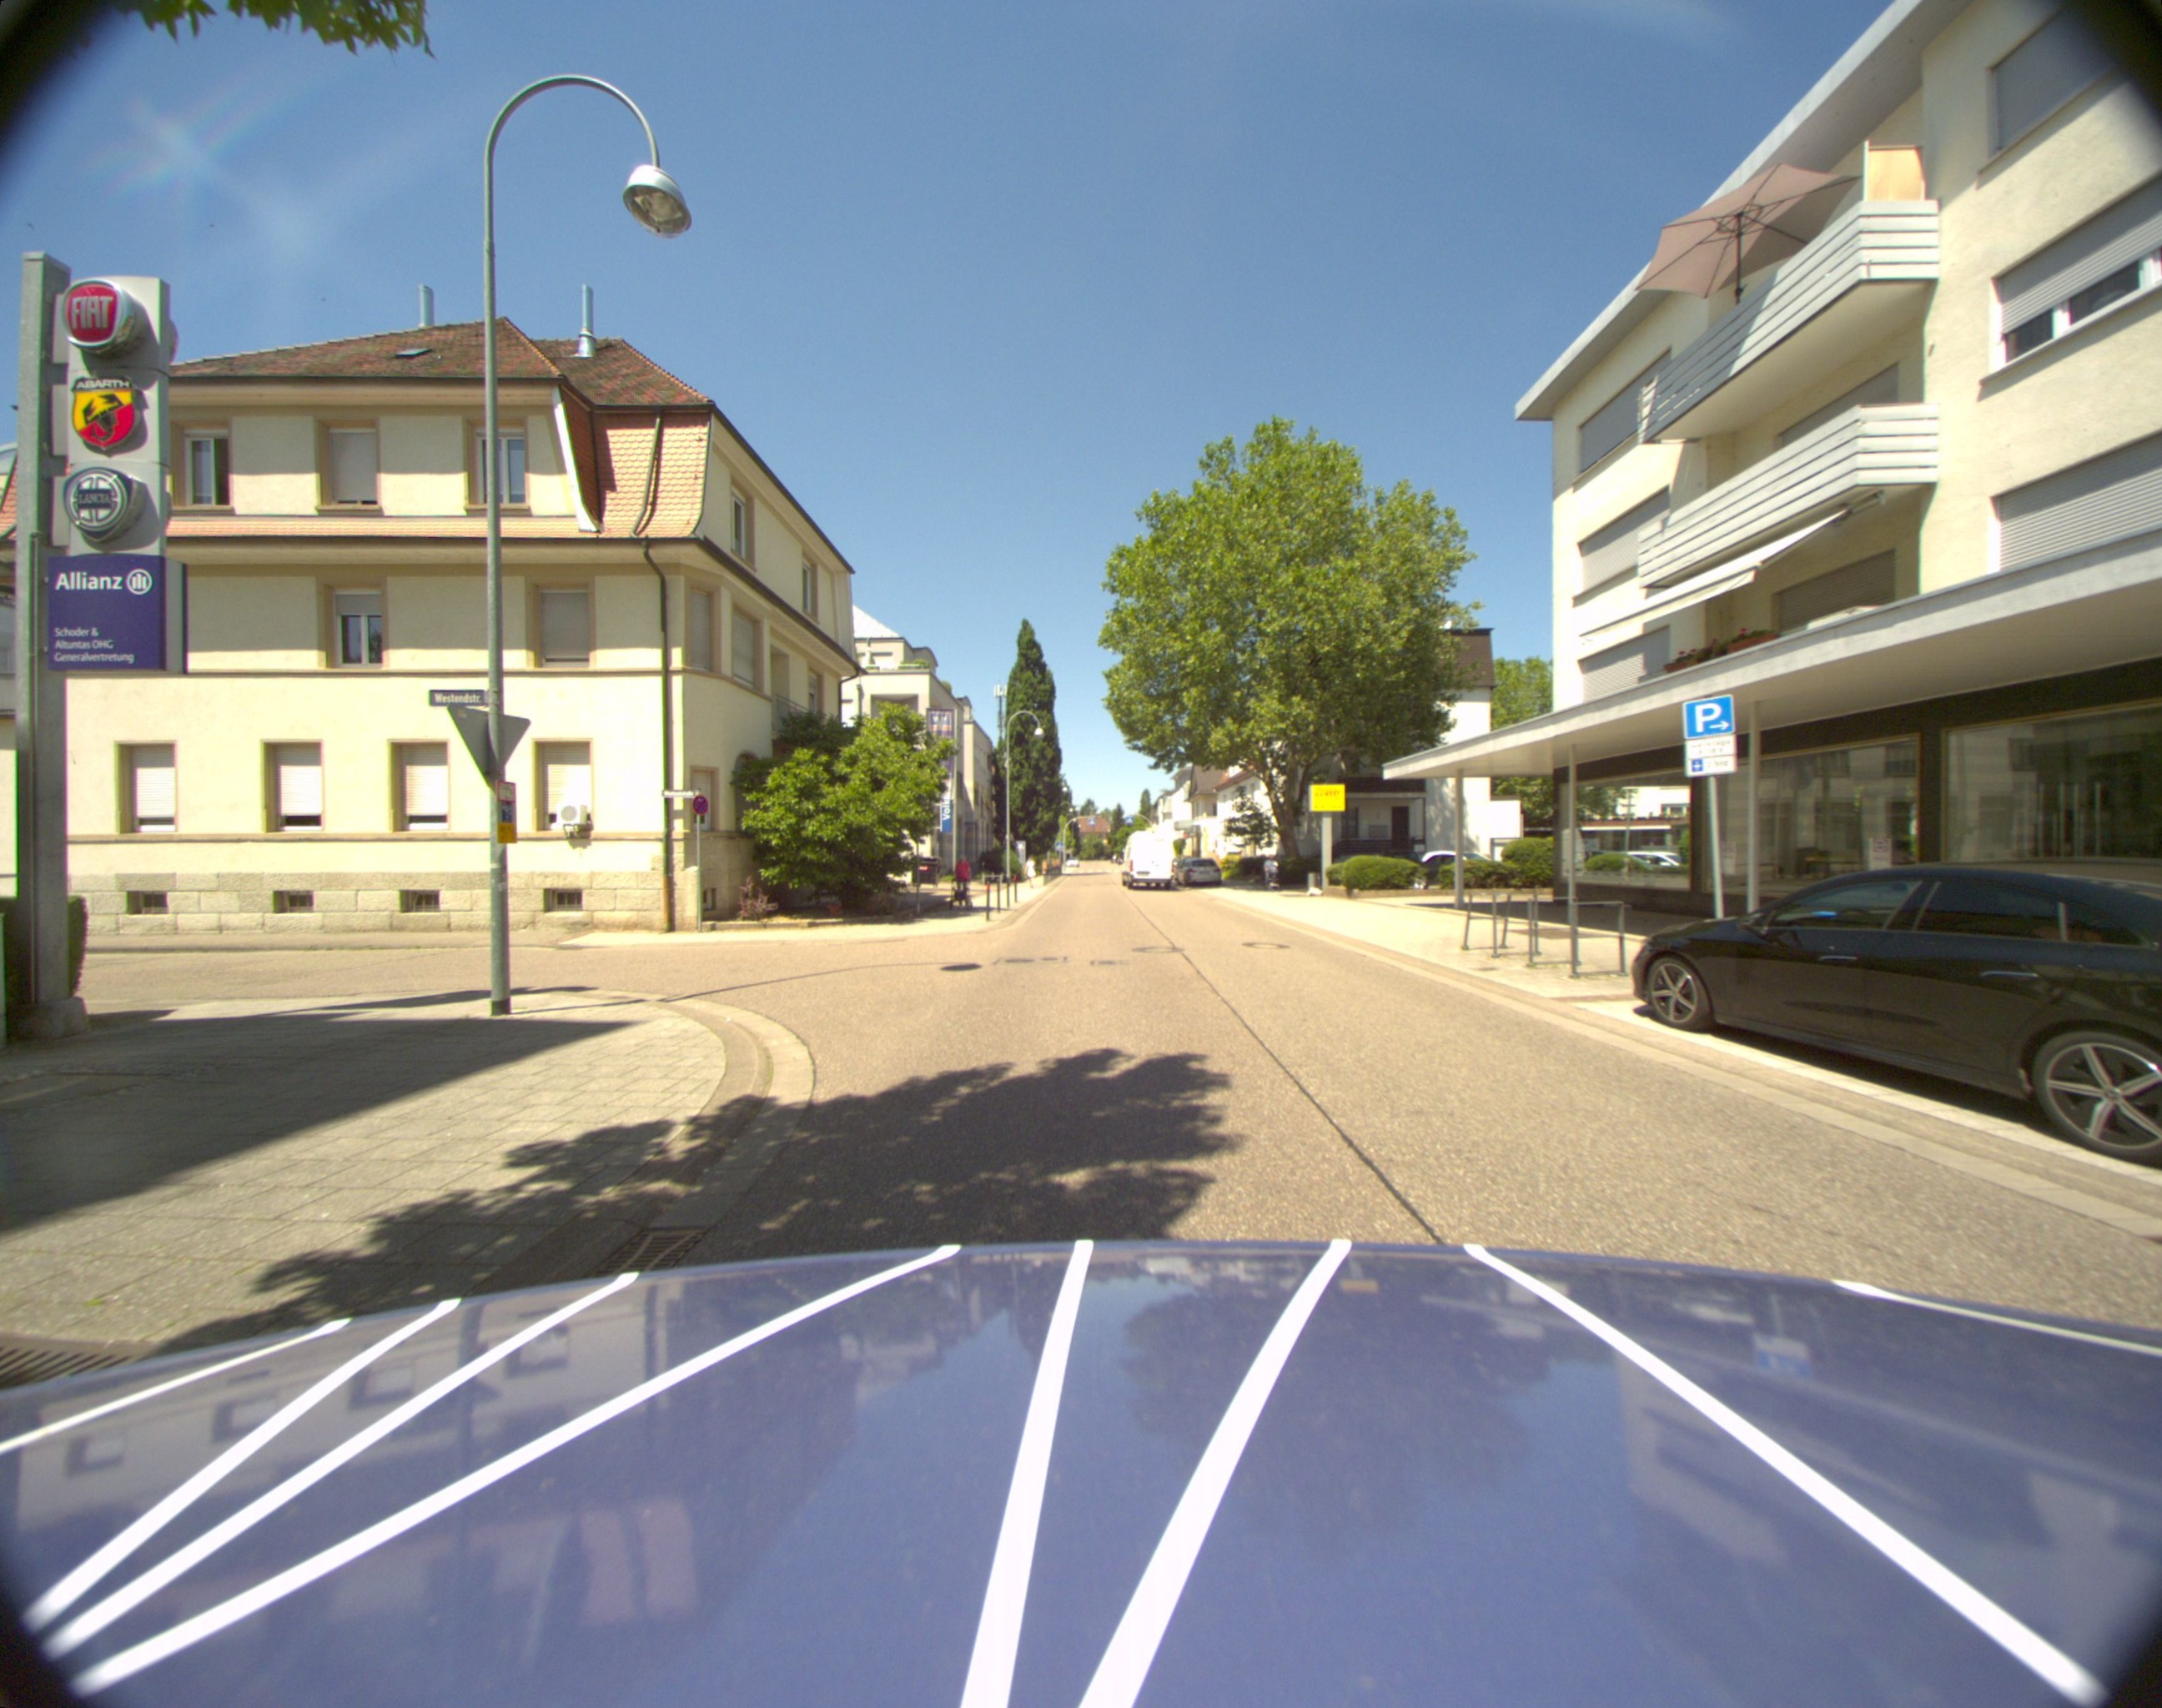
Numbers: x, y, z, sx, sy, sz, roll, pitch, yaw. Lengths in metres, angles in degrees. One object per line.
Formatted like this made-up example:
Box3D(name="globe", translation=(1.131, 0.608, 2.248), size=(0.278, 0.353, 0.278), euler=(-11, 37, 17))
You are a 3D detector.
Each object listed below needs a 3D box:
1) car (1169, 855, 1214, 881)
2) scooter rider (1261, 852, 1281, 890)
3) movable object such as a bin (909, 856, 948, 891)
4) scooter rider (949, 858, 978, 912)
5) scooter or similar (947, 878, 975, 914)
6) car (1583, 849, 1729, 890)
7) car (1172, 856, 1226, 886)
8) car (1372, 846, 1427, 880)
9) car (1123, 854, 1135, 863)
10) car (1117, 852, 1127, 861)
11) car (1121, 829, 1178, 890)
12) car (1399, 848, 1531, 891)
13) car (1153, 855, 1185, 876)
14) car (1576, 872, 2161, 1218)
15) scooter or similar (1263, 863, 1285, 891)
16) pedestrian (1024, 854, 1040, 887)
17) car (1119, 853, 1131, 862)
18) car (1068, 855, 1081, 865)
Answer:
Box3D(name="car", translation=(6.640, 0.789, 46.031), size=(1.986, 1.443, 4.868), euler=(-2, 0, 0))
Box3D(name="scooter rider", translation=(8.131, 0.729, 32.595), size=(0.590, 1.566, 0.877), euler=(-3, 0, 2))
Box3D(name="movable object such as a bin", translation=(-6.769, 0.838, 33.767), size=(1.371, 1.450, 1.381), euler=(3, 1, 3))
Box3D(name="scooter rider", translation=(-3.416, 0.886, 22.156), size=(0.718, 1.539, 0.770), euler=(1, 0, -1))
Box3D(name="scooter or similar", translation=(-3.407, 1.181, 21.582), size=(0.665, 0.957, 0.754), euler=(1, 0, 0))
Box3D(name="car", translation=(21.583, 0.573, 28.719), size=(1.778, 1.426, 4.028), euler=(1, -1, -25))
Box3D(name="car", translation=(6.142, 0.838, 40.145), size=(1.986, 1.443, 5.150), euler=(-2, 0, 0))
Box3D(name="car", translation=(15.271, 0.411, 36.648), size=(1.809, 1.536, 4.110), euler=(0, 0, 14))
Box3D(name="car", translation=(7.949, 0.728, 125.083), size=(1.737, 1.443, 4.260), euler=(-3, 0, 2))
Box3D(name="car", translation=(8.470, 0.569, 156.283), size=(1.925, 1.681, 4.288), euler=(-3, 0, 3))
Box3D(name="car", translation=(3.215, 0.245, 37.105), size=(2.041, 2.614, 7.107), euler=(1, 0, 0))
Box3D(name="car", translation=(14.216, 0.545, 28.339), size=(1.900, 1.478, 3.986), euler=(-1, 0, -29))
Box3D(name="car", translation=(6.630, 0.816, 57.758), size=(1.986, 1.443, 5.358), euler=(-2, 0, 2))
Box3D(name="car", translation=(5.896, 0.925, 5.067), size=(1.901, 1.409, 5.047), euler=(-3, 0, 1))
Box3D(name="scooter or similar", translation=(8.106, 0.958, 31.955), size=(0.665, 1.092, 1.028), euler=(-3, 0, 2))
Box3D(name="pedestrian", translation=(-2.438, 0.838, 38.182), size=(0.702, 1.617, 0.783), euler=(2, 1, 0))
Box3D(name="car", translation=(7.907, 0.640, 136.382), size=(1.925, 1.577, 4.436), euler=(-3, 0, 2))
Box3D(name="car", translation=(-1.018, 0.870, 117.760), size=(1.920, 1.460, 4.880), euler=(0, 0, 1))
